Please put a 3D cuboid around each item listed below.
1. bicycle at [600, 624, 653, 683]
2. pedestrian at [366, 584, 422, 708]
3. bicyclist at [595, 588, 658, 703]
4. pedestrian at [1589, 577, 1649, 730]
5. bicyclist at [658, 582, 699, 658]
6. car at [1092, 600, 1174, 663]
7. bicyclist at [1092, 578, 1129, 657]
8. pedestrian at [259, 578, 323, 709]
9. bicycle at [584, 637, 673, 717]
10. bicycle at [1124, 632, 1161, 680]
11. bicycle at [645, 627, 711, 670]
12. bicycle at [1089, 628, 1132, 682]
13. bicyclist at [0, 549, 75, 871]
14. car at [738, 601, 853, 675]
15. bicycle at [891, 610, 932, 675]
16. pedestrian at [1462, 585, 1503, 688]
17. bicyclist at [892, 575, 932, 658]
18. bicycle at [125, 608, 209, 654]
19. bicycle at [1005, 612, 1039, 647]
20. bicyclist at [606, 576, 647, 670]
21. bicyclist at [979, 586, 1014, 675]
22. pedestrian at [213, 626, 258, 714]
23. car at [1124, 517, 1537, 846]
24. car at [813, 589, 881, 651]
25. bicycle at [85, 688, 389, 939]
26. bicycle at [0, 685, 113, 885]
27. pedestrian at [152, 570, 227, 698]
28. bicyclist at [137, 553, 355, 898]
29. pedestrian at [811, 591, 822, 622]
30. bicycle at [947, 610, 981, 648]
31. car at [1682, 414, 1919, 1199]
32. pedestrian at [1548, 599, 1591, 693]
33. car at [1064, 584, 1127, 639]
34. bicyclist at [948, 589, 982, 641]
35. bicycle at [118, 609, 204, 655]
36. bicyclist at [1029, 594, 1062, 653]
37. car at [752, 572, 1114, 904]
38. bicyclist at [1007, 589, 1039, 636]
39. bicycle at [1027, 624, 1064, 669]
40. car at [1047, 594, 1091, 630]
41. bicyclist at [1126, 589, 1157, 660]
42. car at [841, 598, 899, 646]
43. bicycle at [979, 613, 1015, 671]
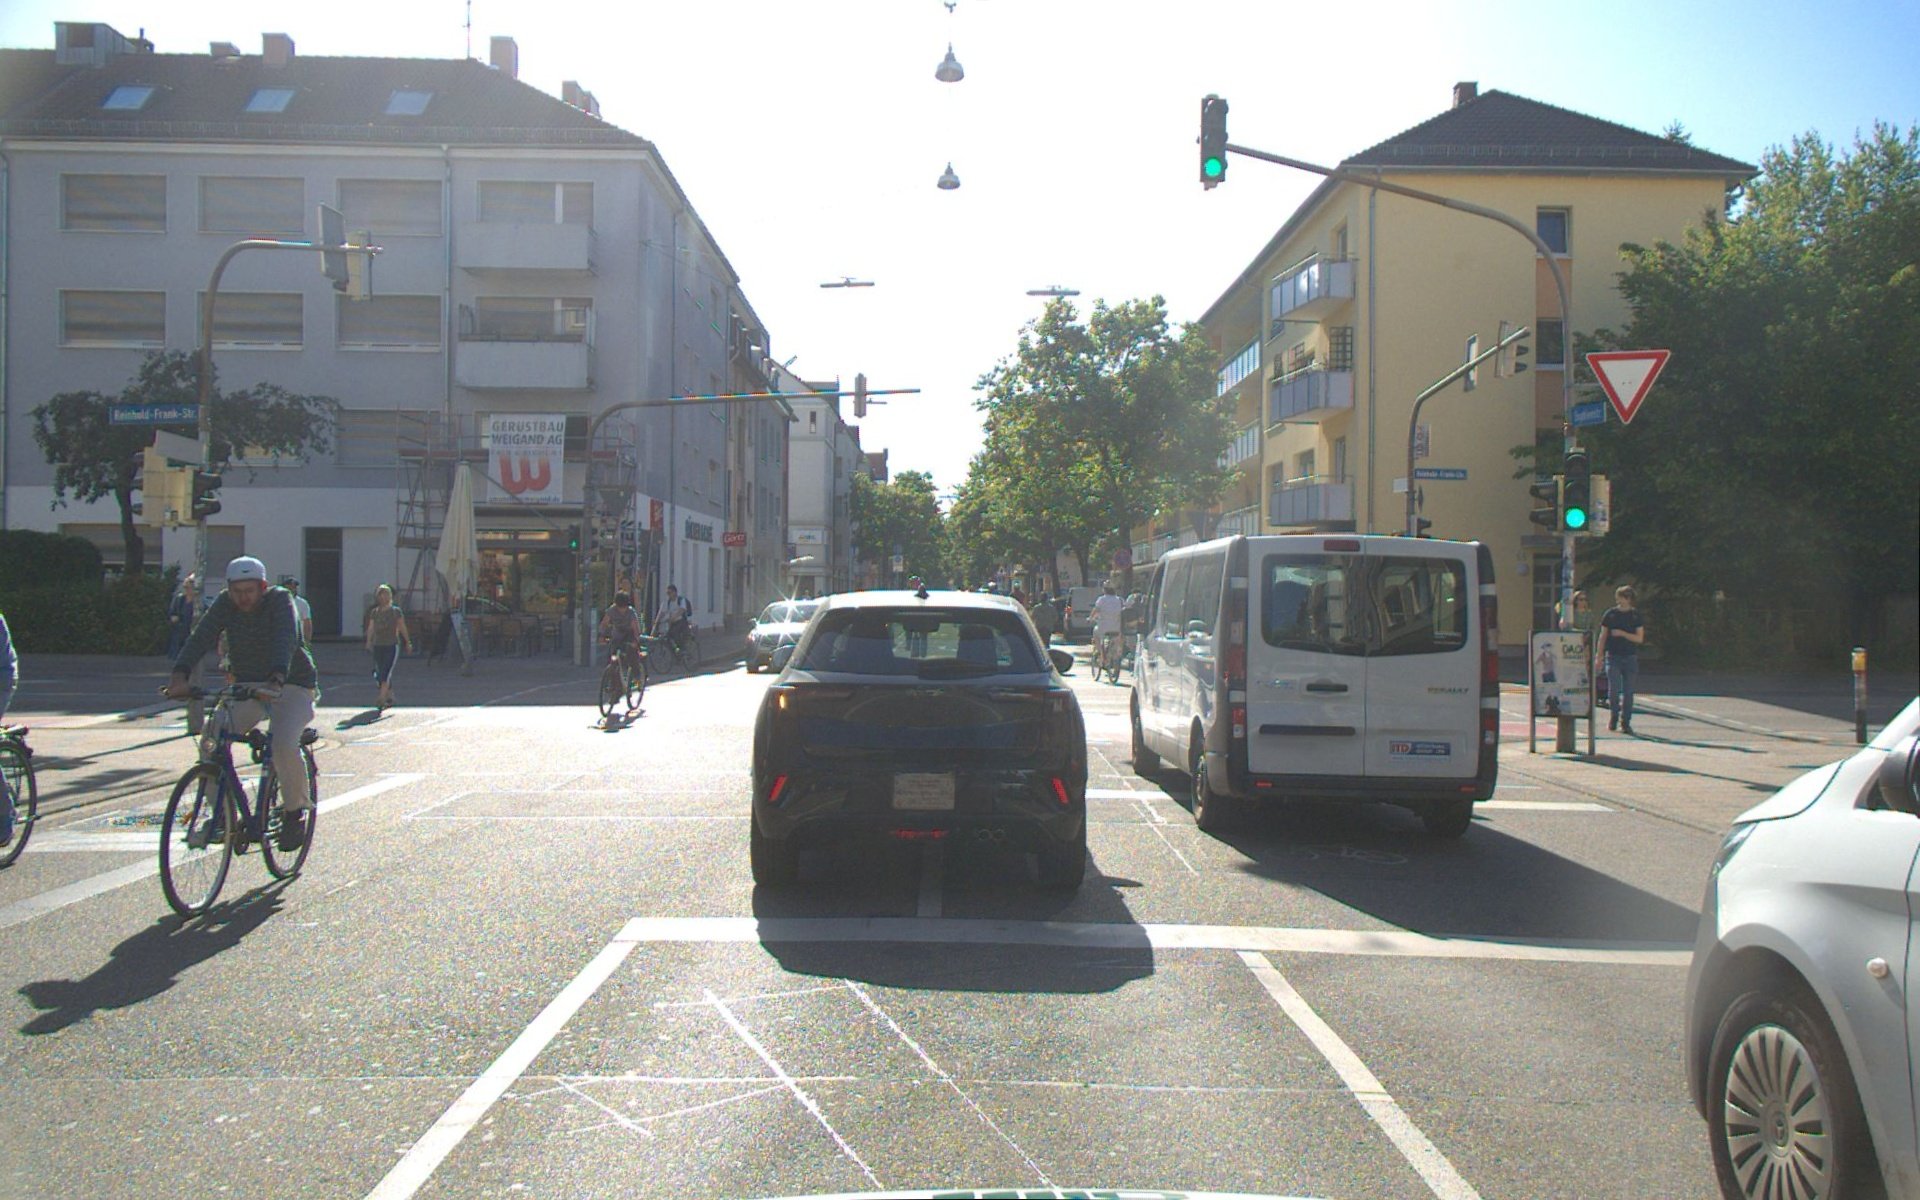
[{"bbox_3d":[-5.564,0.878,27.648,0.531,0.918,1.826,0,0,-1],"label":"bicycle"},{"bbox_3d":[-7.440,0.597,21.765,0.520,1.609,0.563,0,0,1],"label":"pedestrian"},{"bbox_3d":[-4.187,0.559,20.807,0.531,1.415,0.789,0,0,8],"label":"bicyclist"},{"bbox_3d":[8.161,0.651,20.490,0.591,1.854,0.629,0,0,12],"label":"pedestrian"},{"bbox_3d":[-5.967,0.414,35.047,0.541,1.576,0.815,1,0,15],"label":"bicyclist"},{"bbox_3d":[4.337,0.762,41.842,1.678,1.509,3.480,0,0,0],"label":"car"},{"bbox_3d":[2.686,0.308,29.610,0.576,1.406,0.823,0,0,0],"label":"bicyclist"},{"bbox_3d":[-8.980,0.574,22.204,0.561,1.718,0.669,0,0,1],"label":"pedestrian"},{"bbox_3d":[-4.175,0.958,20.969,0.531,0.918,1.828,0,0,8],"label":"bicycle"},{"bbox_3d":[3.654,1.118,33.207,0.535,0.881,1.876,0,0,0],"label":"bicycle"},{"bbox_3d":[-5.965,1.024,35.106,0.541,0.848,2.133,1,0,15],"label":"bicycle"},{"bbox_3d":[2.684,0.971,29.633,0.607,0.881,1.876,0,0,0],"label":"bicycle"},{"bbox_3d":[-5.305,0.573,8.817,0.666,1.659,0.899,-1,0,-1],"label":"bicyclist"},{"bbox_3d":[-3.440,0.765,35.247,1.799,1.459,4.178,0,0,3],"label":"car"},{"bbox_3d":[-1.011,0.858,34.015,0.785,1.277,2.137,0,0,-3],"label":"bicycle"},{"bbox_3d":[9.258,0.639,29.333,0.515,1.792,0.623,0,0,-3],"label":"pedestrian"},{"bbox_3d":[-0.997,0.327,33.873,0.785,1.678,1.124,0,0,-3],"label":"bicyclist"},{"bbox_3d":[-16.881,0.656,35.217,1.556,0.956,0.512,0,0,1],"label":"bicycle"},{"bbox_3d":[1.838,0.868,49.317,0.839,0.961,2.307,2,0,-1],"label":"bicycle"},{"bbox_3d":[-5.559,0.374,27.620,0.531,1.547,0.774,0,0,-1],"label":"bicyclist"},{"bbox_3d":[0.699,0.577,31.857,0.619,1.698,1.050,0,0,-1],"label":"bicyclist"},{"bbox_3d":[-9.771,0.935,22.320,0.378,1.166,0.531,0,0,-3],"label":"pedestrian"},{"bbox_3d":[2.546,0.511,12.752,1.928,1.974,5.054,2,0,-1],"label":"car"},{"bbox_3d":[-3.003,0.527,44.619,1.559,1.593,4.088,-1,0,0],"label":"car"},{"bbox_3d":[-3.502,0.987,8.213,0.666,0.969,1.933,-1,0,-1],"label":"bicycle"},{"bbox_3d":[-5.300,0.993,8.734,0.666,0.969,1.933,-1,0,-1],"label":"bicycle"},{"bbox_3d":[-10.582,0.455,22.737,0.561,1.712,0.968,0,0,0],"label":"pedestrian"},{"bbox_3d":[-3.515,0.585,8.208,0.666,1.604,0.899,-1,0,-1],"label":"bicyclist"},{"bbox_3d":[-7.445,0.331,85.854,0.566,1.610,0.707,0,0,-6],"label":"pedestrian"},{"bbox_3d":[0.106,0.770,44.836,0.839,0.961,2.307,2,0,-1],"label":"bicycle"},{"bbox_3d":[2.922,0.555,1.915,1.928,1.842,4.831,0,0,-2],"label":"car"},{"bbox_3d":[10.534,0.785,28.596,0.528,1.598,0.539,0,0,-1],"label":"pedestrian"},{"bbox_3d":[4.838,0.383,59.610,2.004,1.879,4.585,0,0,1],"label":"car"},{"bbox_3d":[0.121,0.398,44.910,0.839,1.337,1.210,2,0,-1],"label":"bicyclist"},{"bbox_3d":[-16.715,0.671,34.624,1.556,0.956,0.512,0,0,1],"label":"bicycle"},{"bbox_3d":[1.802,0.489,34.880,0.678,1.214,0.595,0,0,0],"label":"bicyclist"},{"bbox_3d":[-0.160,0.666,9.926,1.726,1.586,3.999,0,0,-1],"label":"car"},{"bbox_3d":[1.861,0.375,49.288,0.839,1.337,1.210,2,0,-1],"label":"bicyclist"},{"bbox_3d":[1.792,0.975,34.842,0.677,0.881,1.876,0,0,0],"label":"bicycle"},{"bbox_3d":[4.767,0.521,72.462,1.678,1.509,3.380,0,0,-1],"label":"car"},{"bbox_3d":[3.648,0.492,33.255,0.535,1.406,0.823,0,0,0],"label":"bicyclist"},{"bbox_3d":[-2.919,0.665,53.554,1.769,1.437,4.423,-1,0,-3],"label":"car"},{"bbox_3d":[0.708,0.803,32.019,0.619,1.059,1.795,0,0,-1],"label":"bicycle"}]
